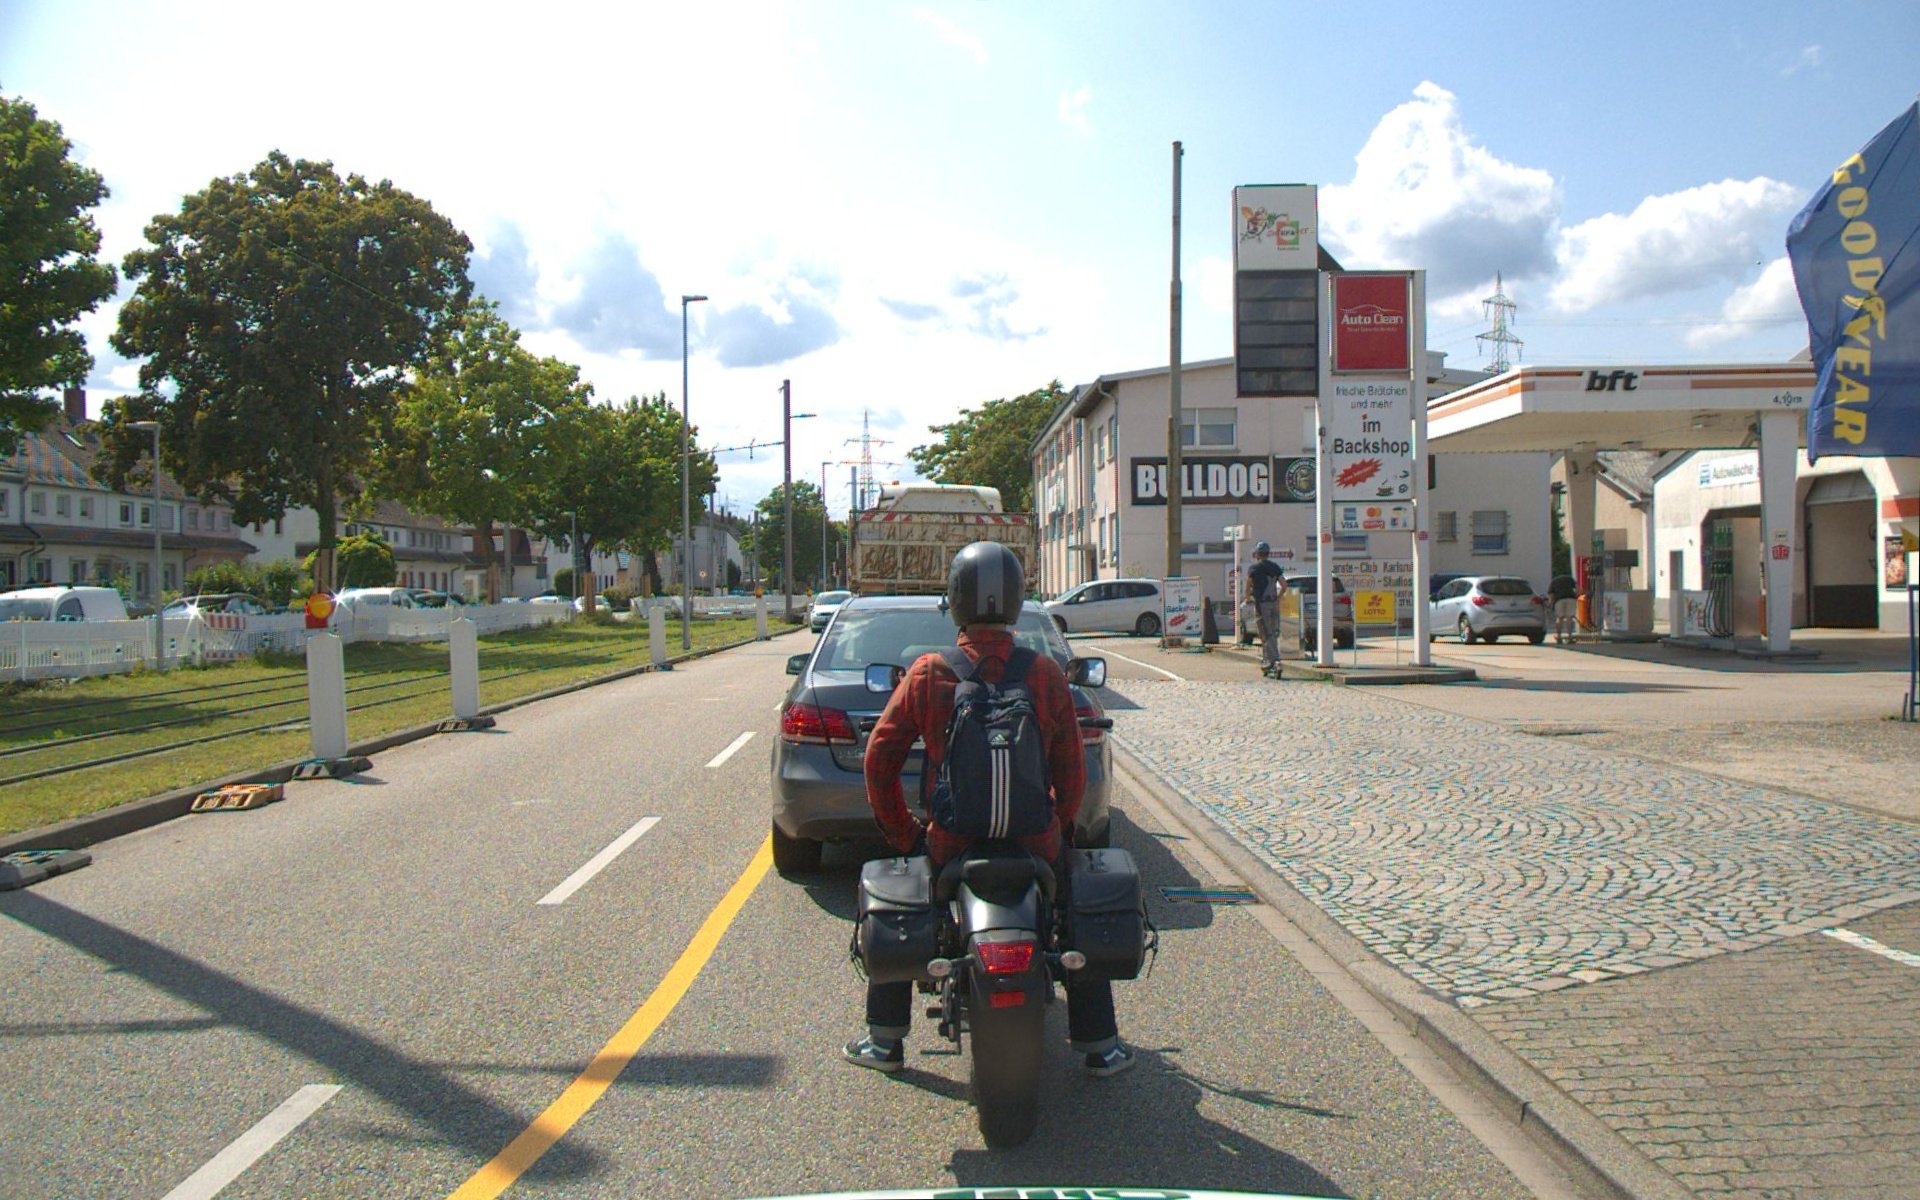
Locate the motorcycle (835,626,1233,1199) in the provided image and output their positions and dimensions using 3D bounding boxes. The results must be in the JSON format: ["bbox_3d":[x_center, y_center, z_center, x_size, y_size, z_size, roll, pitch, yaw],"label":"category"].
[{"bbox_3d":[0.157,0.789,5.241,0.920,1.343,2.644,1,0,-1],"label":"motorcycle"}]

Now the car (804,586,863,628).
[{"bbox_3d":[-4.573,0.255,60.154,1.809,1.411,4.344,-2,0,-1],"label":"car"}]

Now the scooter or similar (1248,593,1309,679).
[{"bbox_3d":[4.689,0.512,24.389,0.529,1.216,1.610,-1,0,-1],"label":"scooter or similar"}]

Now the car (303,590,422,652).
[{"bbox_3d":[-16.972,0.574,47.199,1.953,1.634,3.999,-2,0,-1],"label":"car"}]

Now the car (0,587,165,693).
[{"bbox_3d":[-16.502,0.702,30.296,1.953,1.780,3.999,-2,0,-1],"label":"car"}]

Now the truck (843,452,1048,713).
[{"bbox_3d":[-0.208,-0.351,26.043,2.557,3.312,9.182,-2,2,0],"label":"truck"}]

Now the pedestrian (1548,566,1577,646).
[{"bbox_3d":[13.077,0.134,35.893,0.388,1.718,0.485,-2,0,1],"label":"pedestrian"}]

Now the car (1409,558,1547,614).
[{"bbox_3d":[17.088,-0.453,54.655,3.906,1.677,1.965,-2,0,-2],"label":"car"}]

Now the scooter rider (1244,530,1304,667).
[{"bbox_3d":[4.667,-0.017,24.631,0.702,1.997,0.785,-1,0,-1],"label":"scooter rider"}]

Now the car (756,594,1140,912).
[{"bbox_3d":[-0.081,0.703,9.711,1.784,1.449,3.999,0,0,-1],"label":"car"}]

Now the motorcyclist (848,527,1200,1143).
[{"bbox_3d":[0.165,0.633,5.060,0.920,1.643,1.204,1,0,-1],"label":"motorcyclist"}]

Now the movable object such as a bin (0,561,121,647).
[{"bbox_3d":[-27.799,0.124,49.865,4.277,2.492,1.776,-1,0,-23],"label":"movable object such as a bin"}]

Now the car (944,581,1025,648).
[{"bbox_3d":[0.532,0.300,38.919,1.784,1.489,4.000,0,0,0],"label":"car"}]

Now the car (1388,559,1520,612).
[{"bbox_3d":[17.042,-0.485,57.200,3.906,1.677,1.965,-2,0,-2],"label":"car"}]

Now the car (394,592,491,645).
[{"bbox_3d":[-17.099,0.596,54.843,1.953,1.634,3.999,-2,0,-1],"label":"car"}]

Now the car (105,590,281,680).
[{"bbox_3d":[-16.514,0.716,35.831,1.953,1.780,3.999,-2,0,-1],"label":"car"}]

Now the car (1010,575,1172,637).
[{"bbox_3d":[3.707,0.171,47.248,4.250,1.579,1.946,-2,0,-9],"label":"car"}]

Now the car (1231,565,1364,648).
[{"bbox_3d":[7.395,0.134,36.647,1.920,1.677,3.997,-2,0,-3],"label":"car"}]

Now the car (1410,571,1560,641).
[{"bbox_3d":[11.804,0.128,37.449,1.920,1.445,3.997,-2,0,-3],"label":"car"}]
